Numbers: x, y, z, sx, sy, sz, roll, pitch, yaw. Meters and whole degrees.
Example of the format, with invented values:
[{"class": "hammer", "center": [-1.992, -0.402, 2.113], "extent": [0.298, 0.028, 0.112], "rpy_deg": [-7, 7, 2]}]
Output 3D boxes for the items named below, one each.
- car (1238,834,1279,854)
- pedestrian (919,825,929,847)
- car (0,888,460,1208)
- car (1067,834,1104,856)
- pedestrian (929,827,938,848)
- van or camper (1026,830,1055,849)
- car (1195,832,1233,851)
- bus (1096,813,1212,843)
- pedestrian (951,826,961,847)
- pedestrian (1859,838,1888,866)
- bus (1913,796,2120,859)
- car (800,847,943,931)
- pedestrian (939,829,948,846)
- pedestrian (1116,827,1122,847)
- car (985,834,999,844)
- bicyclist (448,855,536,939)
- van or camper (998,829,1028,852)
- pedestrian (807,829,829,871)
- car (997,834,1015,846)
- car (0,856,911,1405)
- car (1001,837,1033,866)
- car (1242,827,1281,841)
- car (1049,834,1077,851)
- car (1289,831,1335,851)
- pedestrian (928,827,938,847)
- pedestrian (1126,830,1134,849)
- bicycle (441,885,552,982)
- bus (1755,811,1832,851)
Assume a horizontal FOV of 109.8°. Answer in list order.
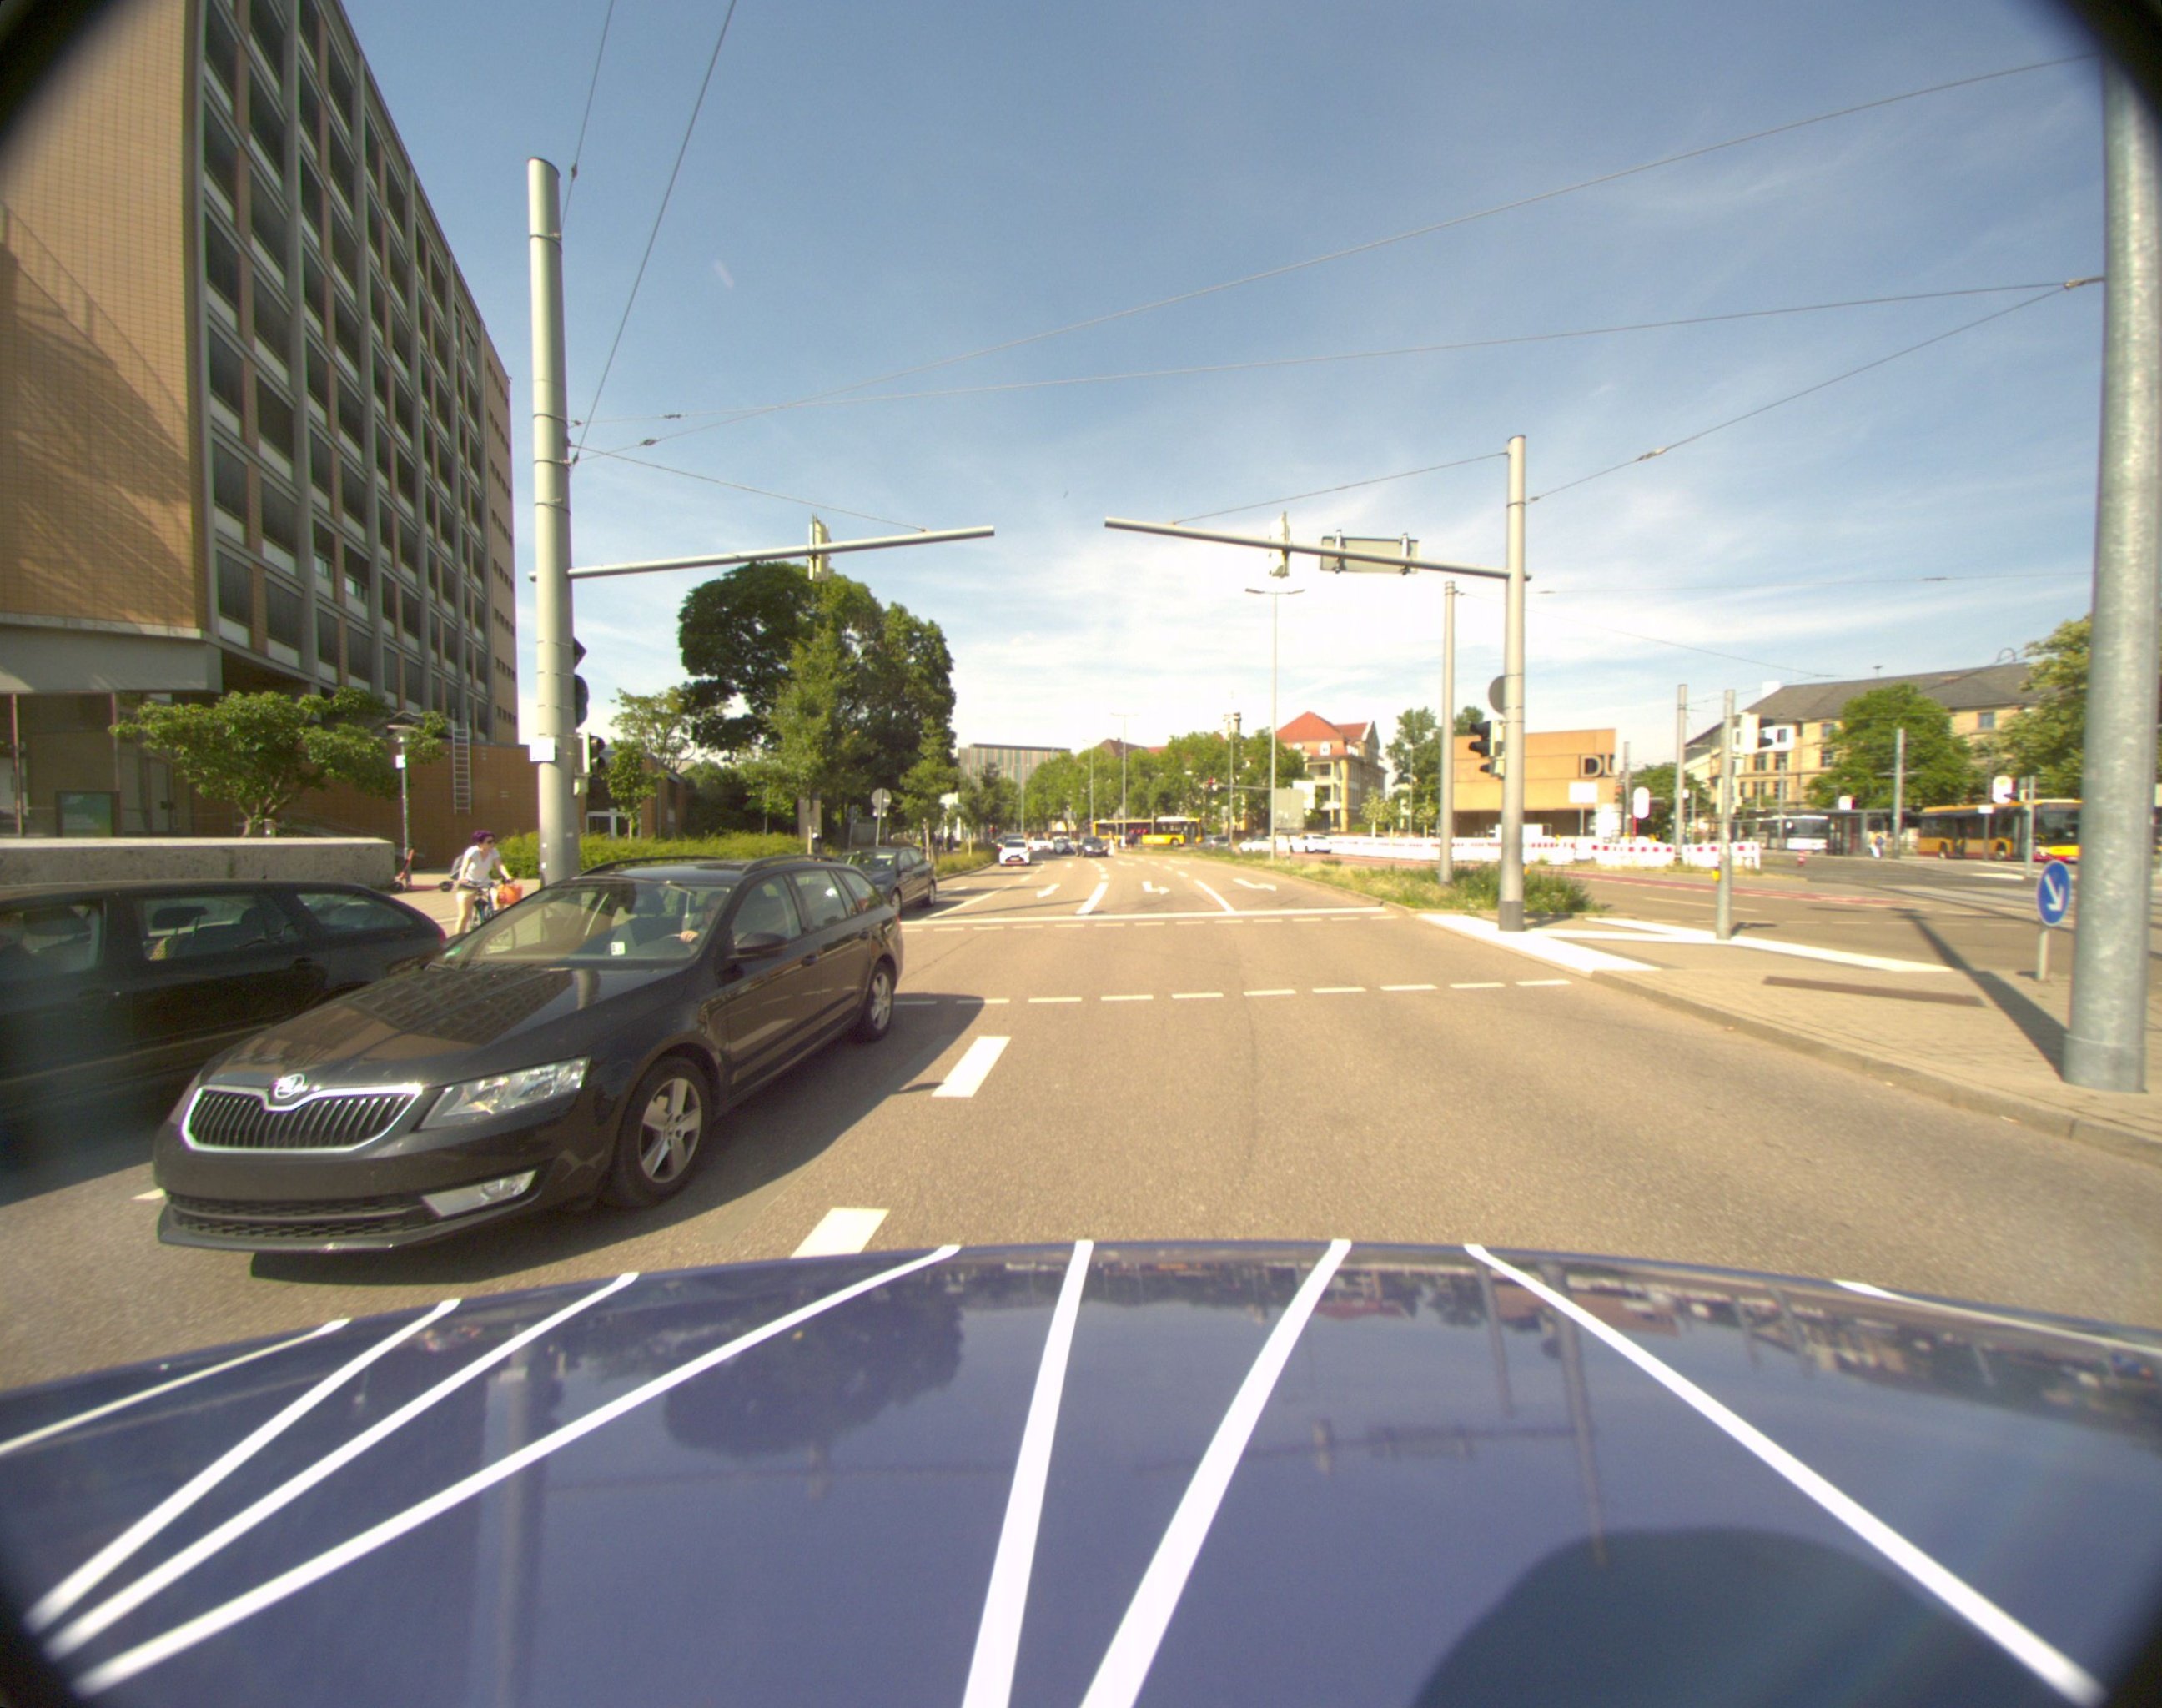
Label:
[{"class": "car", "center": [12.783, -0.757, 54.870], "extent": [1.599, 1.280, 3.996], "rpy_deg": [-2, 2, -7]}, {"class": "pedestrian", "center": [-12.965, -1.490, 62.782], "extent": [0.643, 1.828, 0.731], "rpy_deg": [2, 3, 4]}, {"class": "car", "center": [-6.044, 1.014, 3.946], "extent": [1.703, 1.421, 4.400], "rpy_deg": [-2, 0, 6]}, {"class": "car", "center": [0.300, -0.663, 54.280], "extent": [1.652, 1.417, 4.114], "rpy_deg": [-3, 2, -13]}, {"class": "pedestrian", "center": [-12.626, -1.394, 64.991], "extent": [0.644, 1.754, 0.474], "rpy_deg": [0, 3, -17]}, {"class": "van or camper", "center": [-4.117, -1.492, 76.038], "extent": [1.922, 1.877, 4.914], "rpy_deg": [-1, 2, -15]}, {"class": "car", "center": [9.676, -0.937, 55.419], "extent": [1.599, 1.280, 3.996], "rpy_deg": [-2, 2, -7]}, {"class": "bus", "center": [7.633, -2.770, 80.602], "extent": [12.115, 3.021, 2.801], "rpy_deg": [1, 2, 27]}, {"class": "pedestrian", "center": [-10.521, -1.474, 63.781], "extent": [0.643, 1.664, 0.752], "rpy_deg": [2, 3, 4]}, {"class": "pedestrian", "center": [41.046, -0.109, 39.367], "extent": [0.538, 1.359, 0.912], "rpy_deg": [-2, 3, 4]}, {"class": "bus", "center": [45.854, -1.427, 37.881], "extent": [2.751, 2.668, 11.807], "rpy_deg": [0, 3, 32]}, {"class": "car", "center": [-4.354, 0.642, 16.576], "extent": [1.634, 1.427, 4.527], "rpy_deg": [-1, 2, 3]}, {"class": "pedestrian", "center": [-11.800, -1.422, 65.266], "extent": [0.644, 1.439, 0.568], "rpy_deg": [0, 3, -17]}, {"class": "pedestrian", "center": [3.199, -1.418, 63.895], "extent": [0.541, 1.664, 0.752], "rpy_deg": [0, 2, 4]}, {"class": "car", "center": [-12.947, -2.175, 110.034], "extent": [1.492, 1.287, 3.480], "rpy_deg": [-3, 2, -15]}, {"class": "bicyclist", "center": [-7.940, 0.550, 10.246], "extent": [0.913, 1.023, 0.718], "rpy_deg": [4, 4, 38]}, {"class": "van or camper", "center": [-6.094, -1.230, 67.551], "extent": [1.731, 1.877, 4.914], "rpy_deg": [-3, 2, -15]}, {"class": "pedestrian", "center": [-10.703, -0.166, 30.962], "extent": [0.592, 1.655, 0.731], "rpy_deg": [2, 3, 4]}, {"class": "car", "center": [-7.857, -1.484, 79.568], "extent": [1.491, 1.287, 3.481], "rpy_deg": [0, 2, -12]}, {"class": "car", "center": [-2.523, 0.850, 4.658], "extent": [1.634, 1.427, 4.778], "rpy_deg": [-1, 2, 3]}, {"class": "car", "center": [-3.641, -0.195, 42.968], "extent": [1.682, 1.466, 3.756], "rpy_deg": [-2, 2, -6]}, {"class": "car", "center": [21.029, -2.368, 88.462], "extent": [4.116, 1.435, 1.756], "rpy_deg": [-3, 3, -21]}, {"class": "car", "center": [-1.519, -0.969, 64.021], "extent": [1.492, 1.287, 3.480], "rpy_deg": [-3, 2, -16]}, {"class": "car", "center": [17.230, -0.997, 56.853], "extent": [1.803, 1.412, 3.996], "rpy_deg": [-2, 2, -7]}, {"class": "pedestrian", "center": [-12.236, -1.406, 62.735], "extent": [0.643, 1.618, 0.731], "rpy_deg": [2, 3, 4]}, {"class": "pedestrian", "center": [4.204, -1.250, 64.701], "extent": [0.643, 1.664, 0.752], "rpy_deg": [0, 2, 4]}, {"class": "bicycle", "center": [-7.899, 1.014, 10.234], "extent": [1.912, 1.010, 0.718], "rpy_deg": [4, 4, 38]}, {"class": "bus", "center": [64.466, -2.075, 69.043], "extent": [2.750, 3.304, 11.810], "rpy_deg": [1, 2, 32]}]
